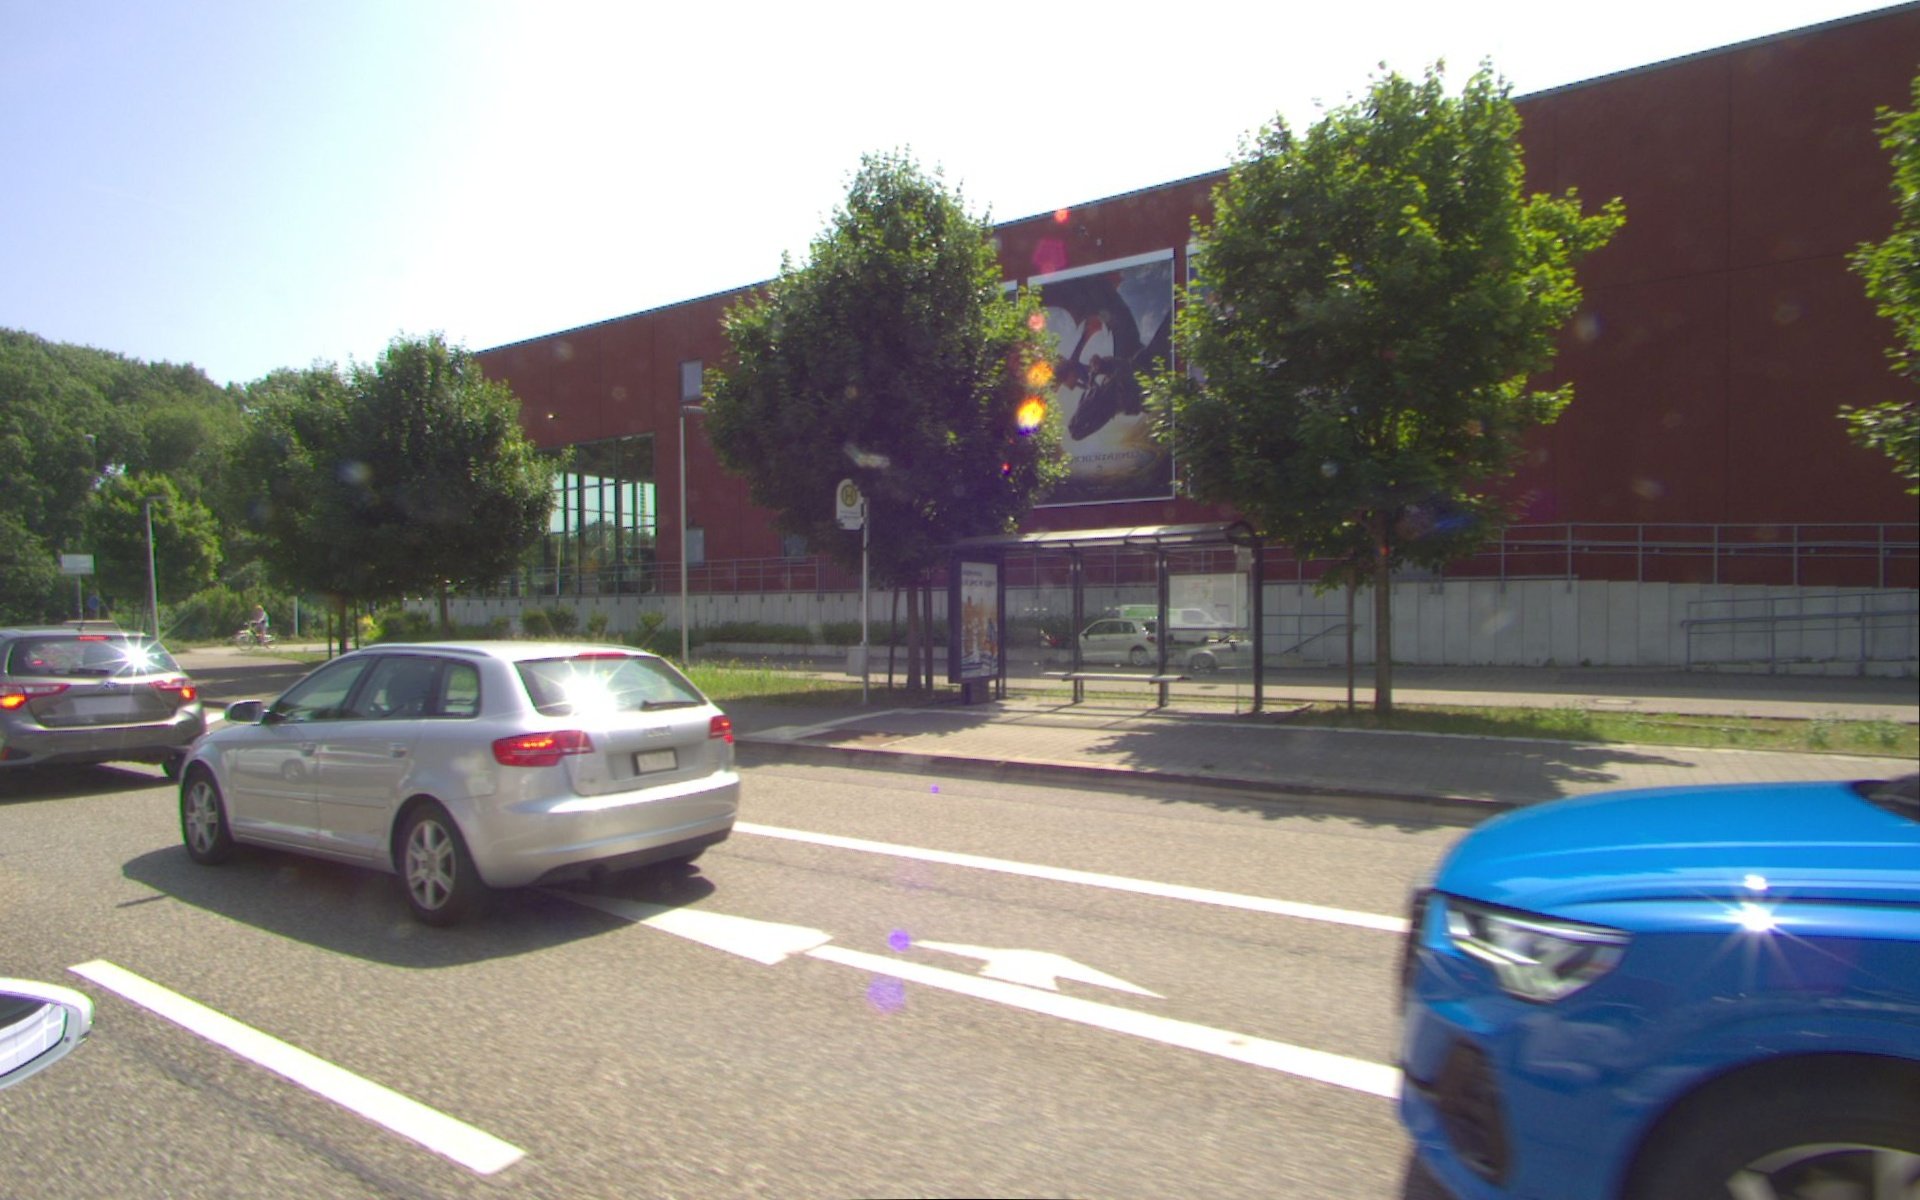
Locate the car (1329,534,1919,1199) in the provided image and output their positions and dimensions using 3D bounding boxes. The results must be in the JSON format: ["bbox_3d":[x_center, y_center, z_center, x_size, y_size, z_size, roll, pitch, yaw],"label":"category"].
[{"bbox_3d":[3.089,0.705,1.745,4.336,1.616,1.834,-1,-1,32],"label":"car"}]

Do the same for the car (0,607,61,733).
[{"bbox_3d":[-14.119,0.909,13.638,4.032,1.614,1.709,-1,-1,31],"label":"car"}]

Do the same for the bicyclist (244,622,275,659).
[{"bbox_3d":[-27.883,1.600,39.874,0.589,1.458,0.827,0,1,23],"label":"bicyclist"}]

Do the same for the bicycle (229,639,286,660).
[{"bbox_3d":[-27.892,1.962,39.793,0.590,0.776,1.822,0,0,22],"label":"bicycle"}]

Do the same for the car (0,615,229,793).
[{"bbox_3d":[-9.401,0.950,10.186,4.032,1.496,1.710,-1,-4,31],"label":"car"}]

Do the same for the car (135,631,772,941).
[{"bbox_3d":[-3.287,0.905,6.314,4.032,1.379,1.710,-1,-2,31],"label":"car"}]
